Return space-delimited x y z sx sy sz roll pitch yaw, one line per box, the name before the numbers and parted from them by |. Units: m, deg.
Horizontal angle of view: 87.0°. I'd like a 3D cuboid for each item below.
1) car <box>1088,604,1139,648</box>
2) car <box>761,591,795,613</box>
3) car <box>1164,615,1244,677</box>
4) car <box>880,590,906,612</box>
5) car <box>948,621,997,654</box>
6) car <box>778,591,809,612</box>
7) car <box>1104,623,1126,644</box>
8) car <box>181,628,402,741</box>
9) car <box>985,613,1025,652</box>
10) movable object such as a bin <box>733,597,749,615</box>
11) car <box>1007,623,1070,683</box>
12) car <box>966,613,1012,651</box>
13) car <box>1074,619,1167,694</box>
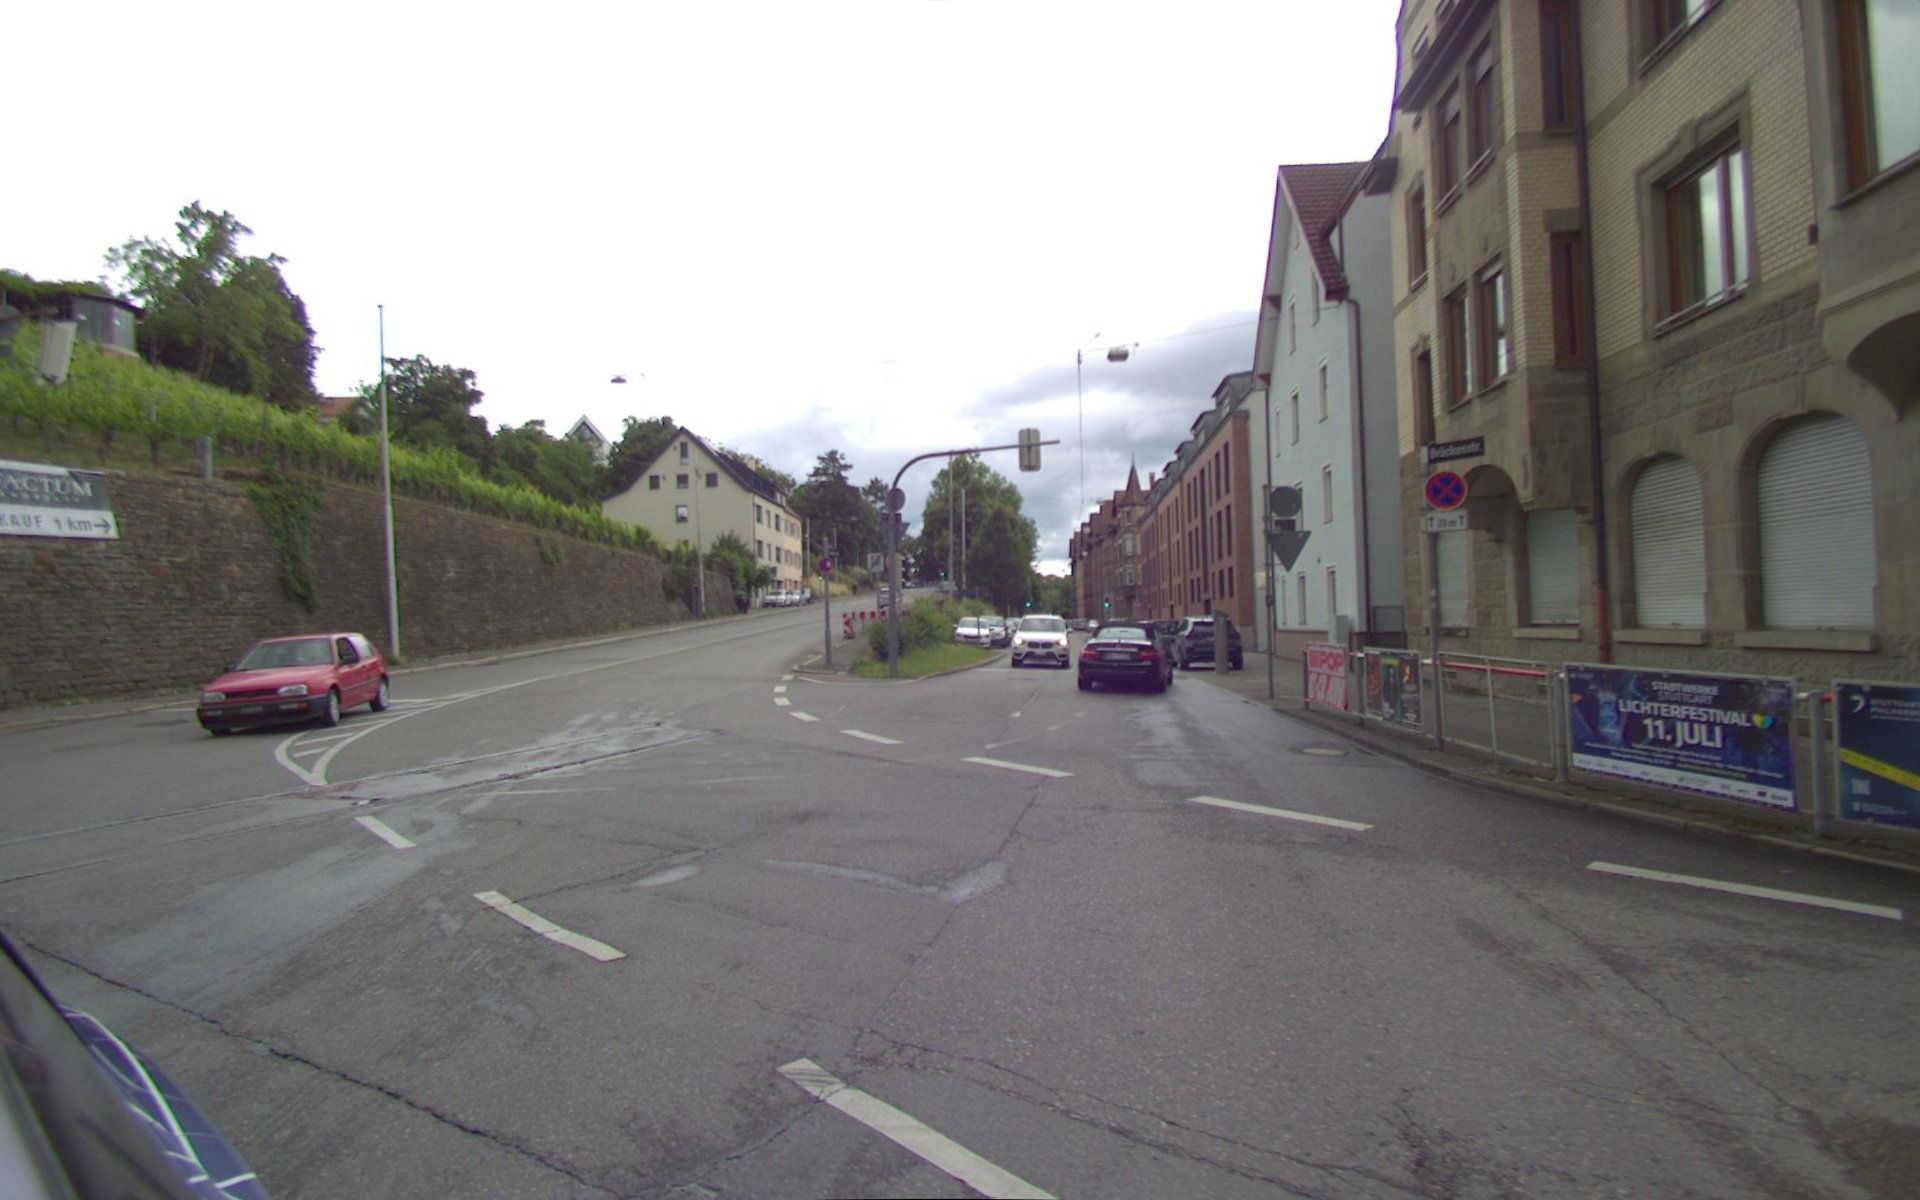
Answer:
car | 5.415 0.909 35.830 1.667 1.477 3.908 -1 -1 8
car | -15.180 0.163 84.558 1.777 1.586 4.052 -3 1 4
car | 7.383 1.342 30.986 1.666 1.567 4.228 -2 1 5
car | -4.851 0.097 73.928 1.652 1.479 3.642 0 -2 1
car | 0.631 1.699 46.599 1.855 1.453 3.991 -1 -1 7
car | -14.751 0.105 89.714 1.711 1.586 4.245 -3 1 4
car | 13.305 2.856 86.905 1.797 1.807 3.833 -1 -1 9
car | -10.559 1.247 16.343 1.620 1.449 4.010 -2 0 -12
car | 2.544 1.794 56.724 1.975 1.851 3.994 -3 2 5
movable object such as a bin | -14.701 0.407 68.039 0.801 1.135 0.874 -2 1 3
car | 2.546 1.635 32.376 1.811 1.525 4.416 -3 1 5
car | 1.492 1.606 51.289 1.976 1.852 3.992 -1 -1 7
car | 3.449 1.128 21.570 1.748 1.420 4.384 -1 -1 10
